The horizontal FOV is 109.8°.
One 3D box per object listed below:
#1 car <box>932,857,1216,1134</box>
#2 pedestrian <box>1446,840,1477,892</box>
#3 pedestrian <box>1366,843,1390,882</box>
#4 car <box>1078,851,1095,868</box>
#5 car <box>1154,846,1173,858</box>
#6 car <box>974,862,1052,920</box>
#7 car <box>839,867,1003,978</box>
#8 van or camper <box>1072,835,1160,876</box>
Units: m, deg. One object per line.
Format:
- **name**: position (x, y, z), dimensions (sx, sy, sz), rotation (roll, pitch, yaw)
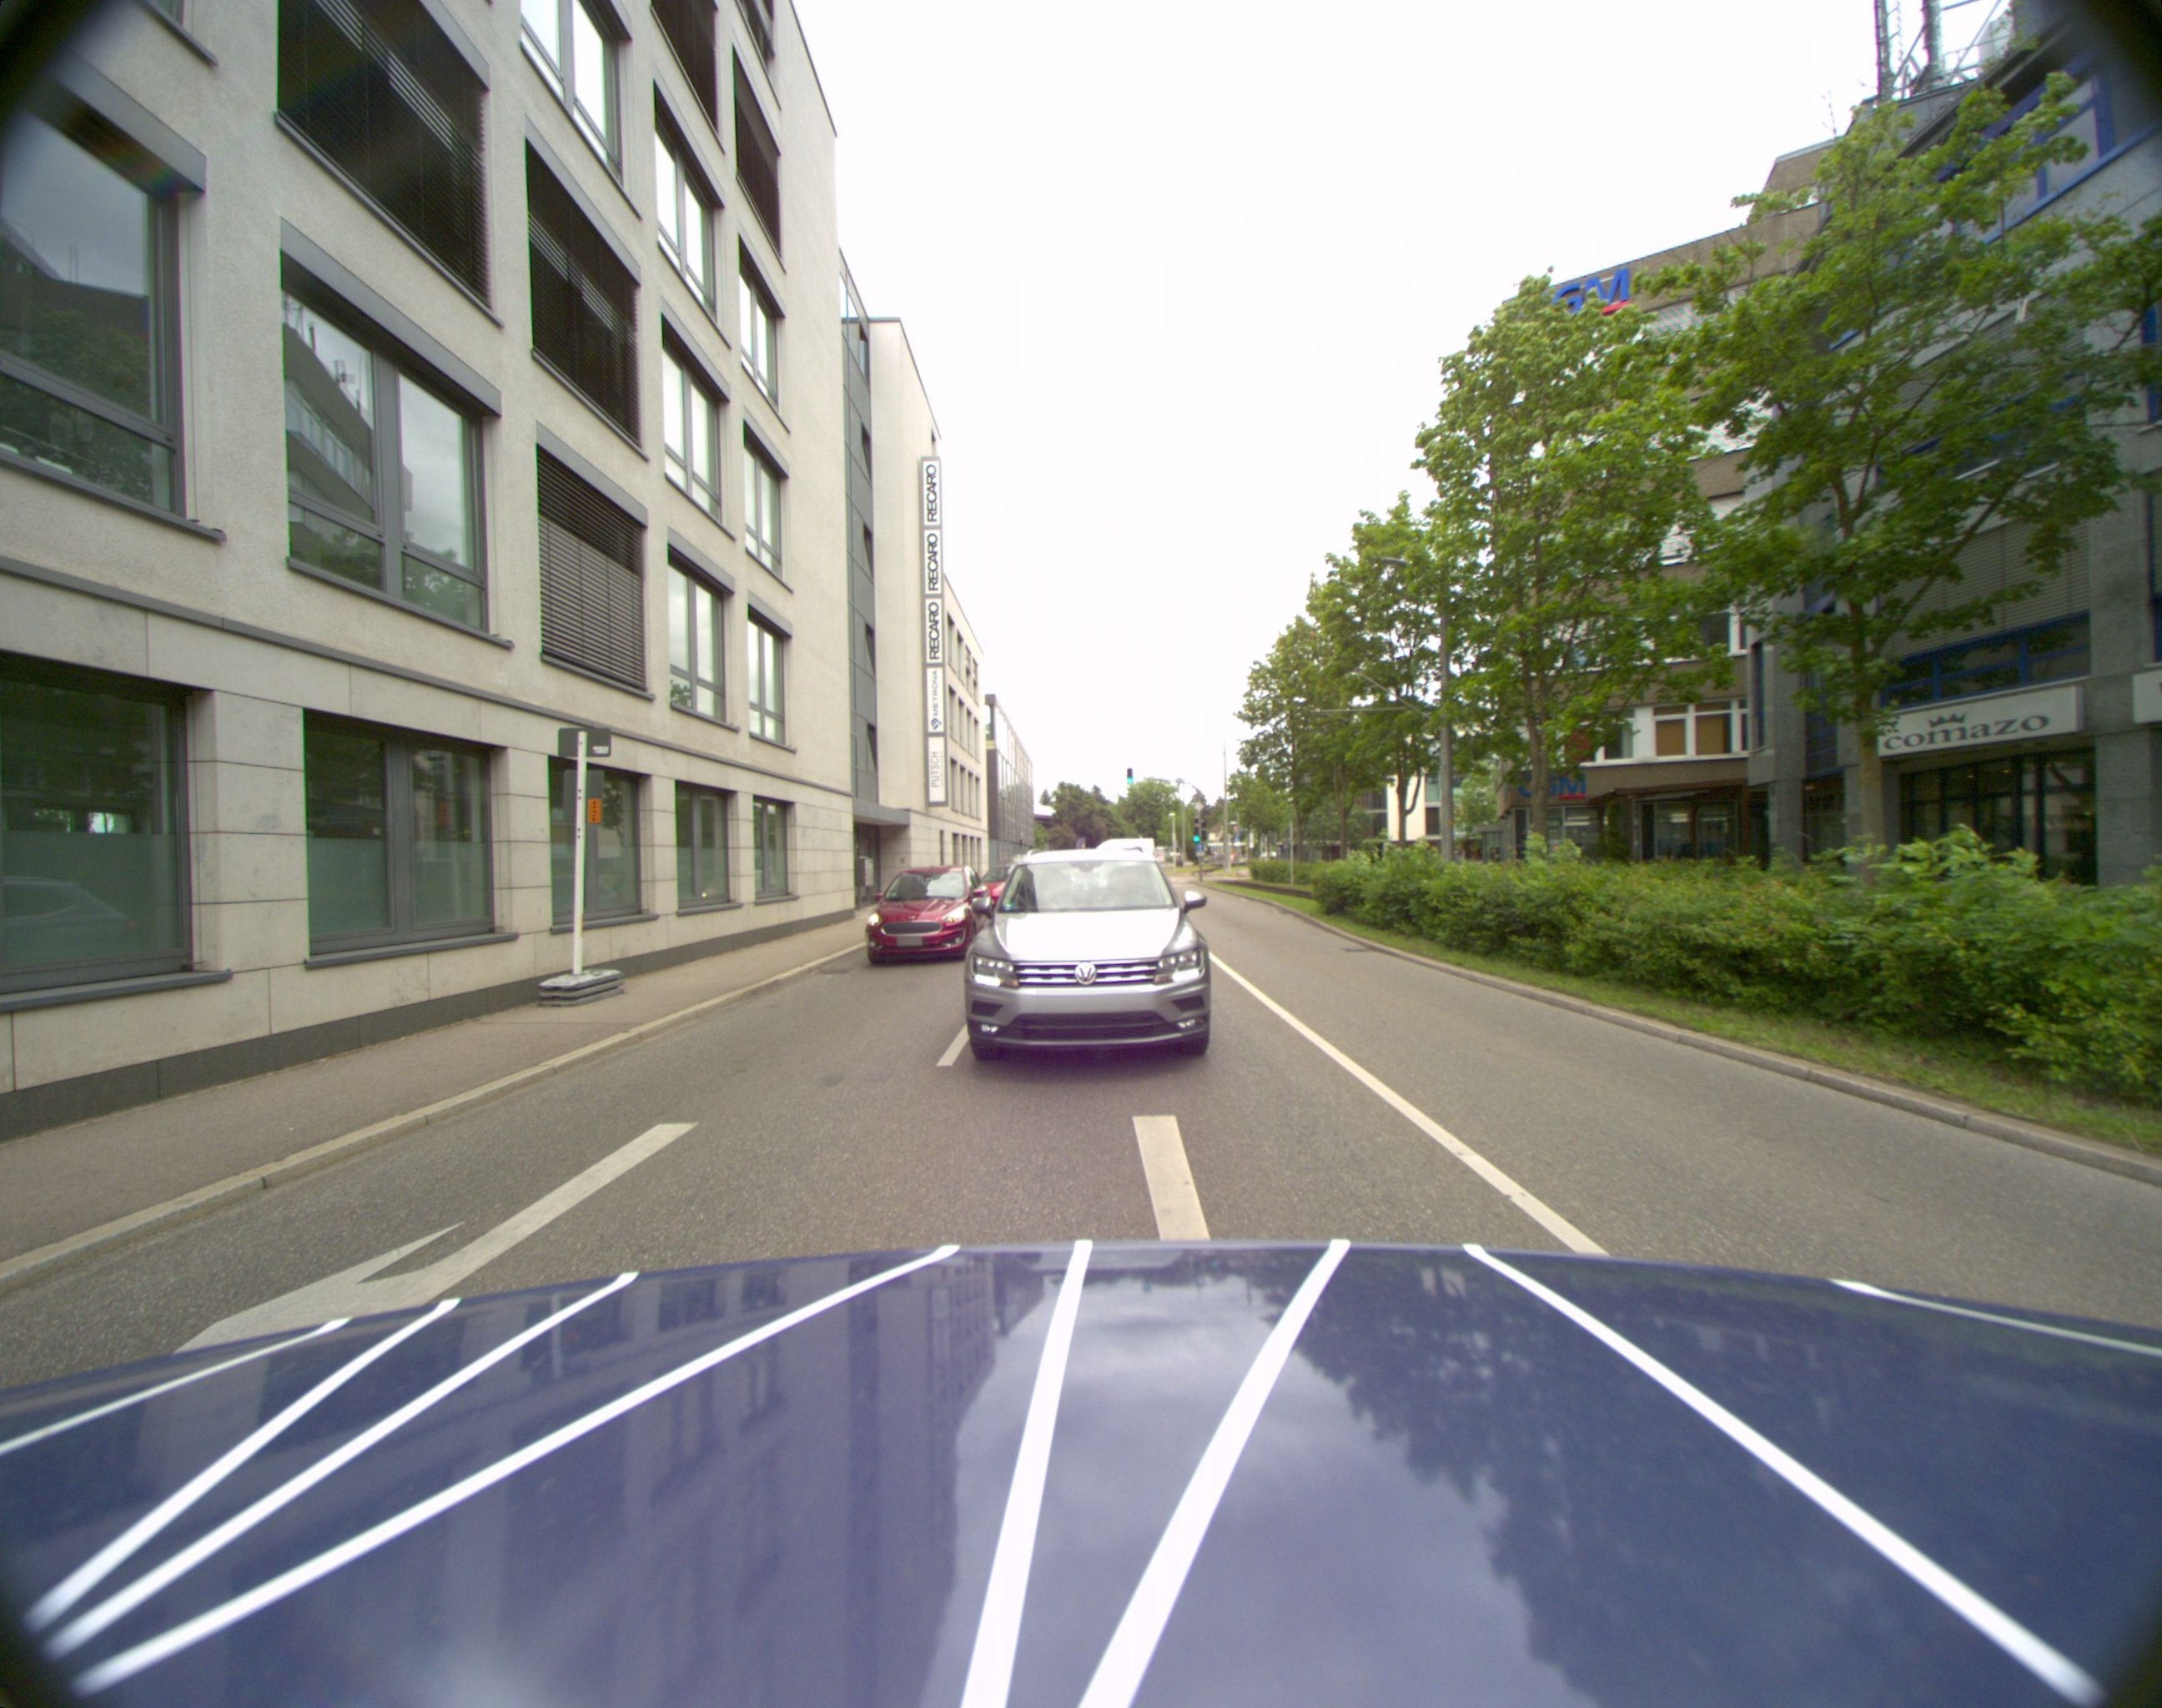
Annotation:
- **car**: position (-0.011, 0.928, 7.125), dimensions (1.798, 1.716, 4.458), rotation (-1, 0, 1)
- **pedestrian**: position (13.424, 0.414, 26.824), dimensions (0.680, 1.795, 0.731), rotation (-2, 1, -4)
- **pedestrian**: position (14.691, 0.404, 37.600), dimensions (0.816, 1.912, 0.731), rotation (-2, 1, 0)
- **car**: position (0.718, 0.673, 96.127), dimensions (1.998, 2.002, 4.000), rotation (-2, 1, 1)
- **car**: position (13.928, -0.369, 127.977), dimensions (1.995, 2.002, 4.006), rotation (-1, 1, 24)
- **car**: position (-1.949, 1.052, 23.045), dimensions (1.825, 1.449, 4.408), rotation (-3, 0, 1)
- **car**: position (-2.585, 1.049, 13.284), dimensions (1.890, 1.483, 4.000), rotation (-4, 0, 1)
- **van or camper**: position (2.583, 0.120, 54.949), dimensions (6.144, 2.718, 2.115), rotation (-2, 1, 6)
